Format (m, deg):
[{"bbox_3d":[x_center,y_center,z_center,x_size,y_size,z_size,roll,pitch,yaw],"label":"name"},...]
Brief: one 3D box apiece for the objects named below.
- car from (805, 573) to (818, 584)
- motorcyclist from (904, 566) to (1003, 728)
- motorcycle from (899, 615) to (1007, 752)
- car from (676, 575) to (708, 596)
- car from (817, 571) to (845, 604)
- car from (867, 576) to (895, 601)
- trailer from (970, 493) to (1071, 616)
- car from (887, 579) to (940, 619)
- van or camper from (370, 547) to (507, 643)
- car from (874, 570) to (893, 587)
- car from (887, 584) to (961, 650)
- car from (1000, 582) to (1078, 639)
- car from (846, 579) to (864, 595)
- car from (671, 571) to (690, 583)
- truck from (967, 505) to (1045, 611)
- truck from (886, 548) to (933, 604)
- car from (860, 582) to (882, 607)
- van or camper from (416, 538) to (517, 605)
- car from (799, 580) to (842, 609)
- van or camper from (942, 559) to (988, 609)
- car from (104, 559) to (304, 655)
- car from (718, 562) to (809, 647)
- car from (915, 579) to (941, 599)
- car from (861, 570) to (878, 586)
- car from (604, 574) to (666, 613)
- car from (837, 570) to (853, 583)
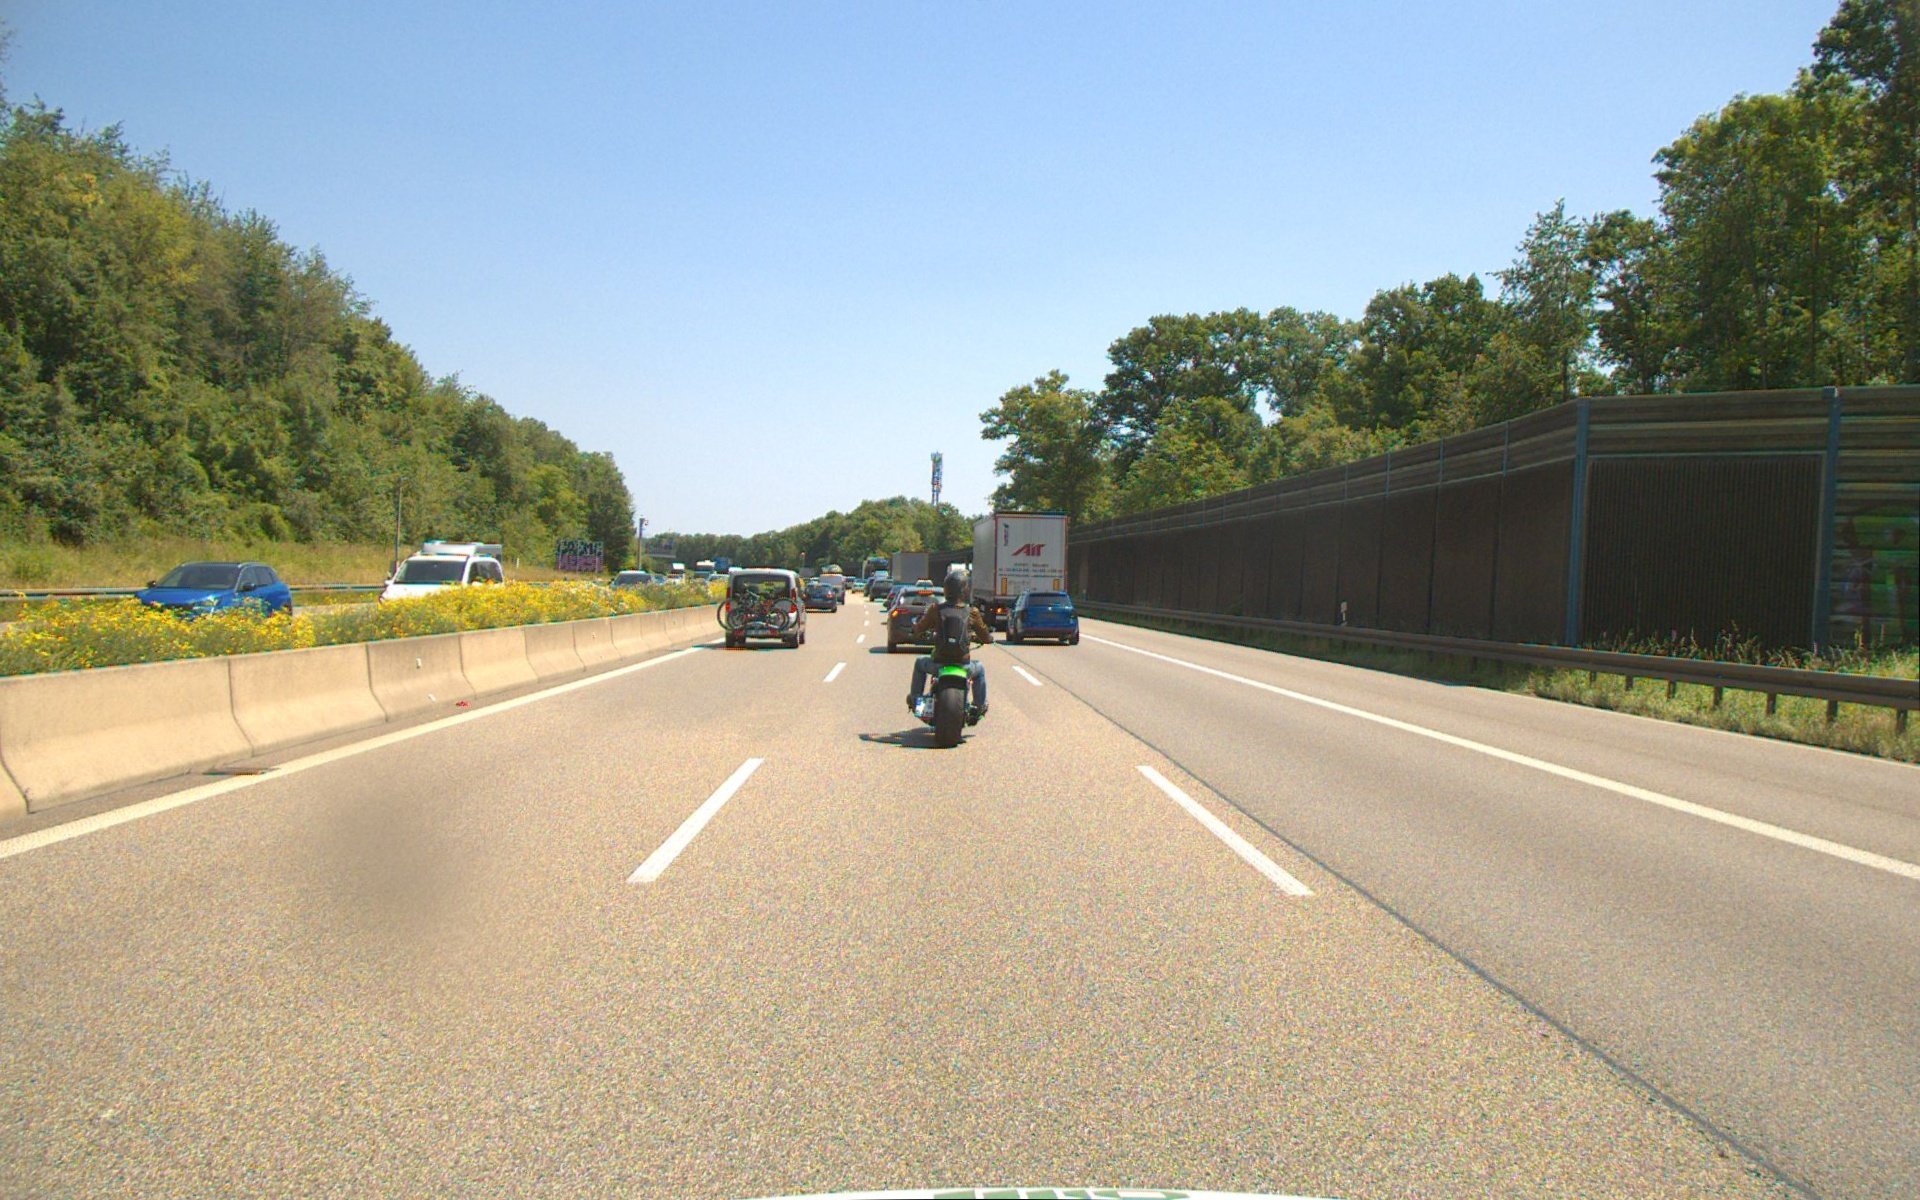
[{"bbox_3d":[-22.135,-3.136,246.120,1.798,1.522,3.736,1,-1,-8],"label":"car"},{"bbox_3d":[-0.039,0.444,16.342,0.881,1.501,1.872,1,-1,2],"label":"motorcyclist"},{"bbox_3d":[-0.026,0.770,16.482,0.944,1.168,2.812,1,1,2],"label":"motorcycle"},{"bbox_3d":[-20.946,-1.123,129.322,1.953,1.618,4.160,1,-1,-3],"label":"car"},{"bbox_3d":[-8.201,-0.767,105.370,1.756,2.049,3.638,1,-1,-4],"label":"car"},{"bbox_3d":[-5.720,-0.819,119.077,1.954,1.669,3.997,1,-1,-4],"label":"car"},{"bbox_3d":[2.090,-1.620,62.766,2.827,4.109,13.790,1,1,-2],"label":"trailer"},{"bbox_3d":[-1.834,-0.018,64.096,1.954,1.455,3.844,1,0,-3],"label":"car"},{"bbox_3d":[-11.852,-0.085,37.895,1.845,2.049,4.585,1,-1,-2],"label":"van or camper"},{"bbox_3d":[-9.355,-2.631,202.254,2.067,1.909,3.996,1,-1,-5],"label":"car"},{"bbox_3d":[-0.881,0.395,38.940,1.629,1.478,3.867,1,0,-2],"label":"car"},{"bbox_3d":[2.160,0.297,46.122,1.618,1.508,4.477,1,0,-4],"label":"car"},{"bbox_3d":[-10.699,-1.349,169.090,1.796,1.522,3.741,1,-1,-3],"label":"car"},{"bbox_3d":[-34.409,-2.825,203.621,1.954,1.457,4.188,1,1,-5],"label":"car"},{"bbox_3d":[1.869,-1.719,69.603,2.828,4.218,5.983,1,0,-2],"label":"truck"},{"bbox_3d":[-4.758,-2.169,154.834,3.729,5.046,8.939,1,-1,-6],"label":"truck"},{"bbox_3d":[-7.789,-0.463,144.774,1.874,2.049,3.687,1,-1,-5],"label":"car"},{"bbox_3d":[-20.355,-1.115,68.569,2.142,2.605,6.930,1,0,-1],"label":"van or camper"},{"bbox_3d":[-6.896,-0.258,82.167,1.953,1.411,3.998,1,0,-2],"label":"car"},{"bbox_3d":[0.270,-0.911,98.465,2.630,2.862,6.802,1,-1,0],"label":"van or camper"},{"bbox_3d":[-14.540,0.145,32.110,1.953,1.720,4.399,1,-1,-2],"label":"car"},{"bbox_3d":[-4.642,0.117,39.637,1.861,1.906,4.409,1,-1,-3],"label":"car"},{"bbox_3d":[-2.680,-0.923,139.095,1.954,1.601,3.996,1,-1,-4],"label":"car"},{"bbox_3d":[-11.361,-2.746,207.889,2.067,1.909,3.996,1,-1,-5],"label":"car"},{"bbox_3d":[-13.192,-0.254,67.321,1.771,1.512,3.856,1,0,0],"label":"car"},{"bbox_3d":[-13.605,-2.769,196.468,1.796,1.522,3.741,1,-1,-3],"label":"car"}]
